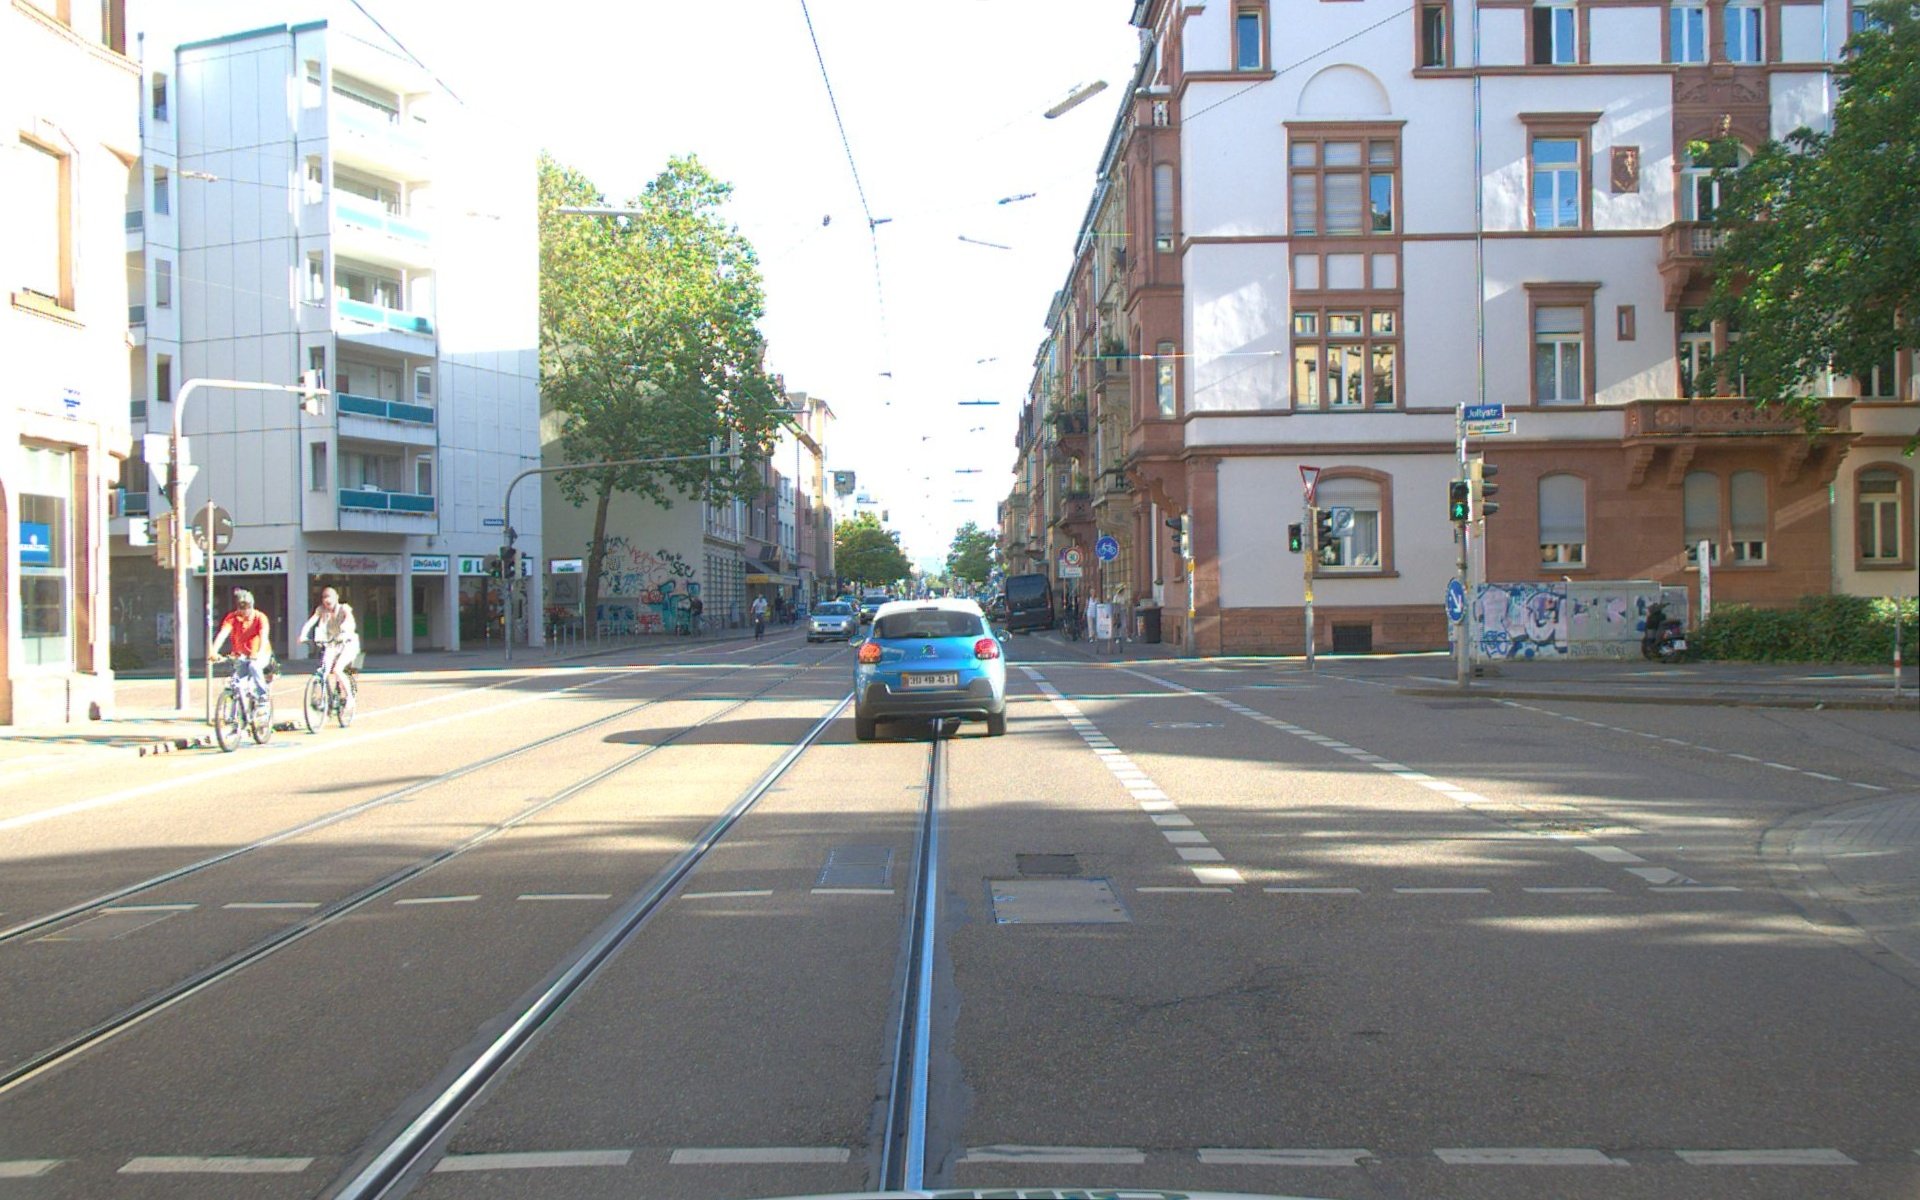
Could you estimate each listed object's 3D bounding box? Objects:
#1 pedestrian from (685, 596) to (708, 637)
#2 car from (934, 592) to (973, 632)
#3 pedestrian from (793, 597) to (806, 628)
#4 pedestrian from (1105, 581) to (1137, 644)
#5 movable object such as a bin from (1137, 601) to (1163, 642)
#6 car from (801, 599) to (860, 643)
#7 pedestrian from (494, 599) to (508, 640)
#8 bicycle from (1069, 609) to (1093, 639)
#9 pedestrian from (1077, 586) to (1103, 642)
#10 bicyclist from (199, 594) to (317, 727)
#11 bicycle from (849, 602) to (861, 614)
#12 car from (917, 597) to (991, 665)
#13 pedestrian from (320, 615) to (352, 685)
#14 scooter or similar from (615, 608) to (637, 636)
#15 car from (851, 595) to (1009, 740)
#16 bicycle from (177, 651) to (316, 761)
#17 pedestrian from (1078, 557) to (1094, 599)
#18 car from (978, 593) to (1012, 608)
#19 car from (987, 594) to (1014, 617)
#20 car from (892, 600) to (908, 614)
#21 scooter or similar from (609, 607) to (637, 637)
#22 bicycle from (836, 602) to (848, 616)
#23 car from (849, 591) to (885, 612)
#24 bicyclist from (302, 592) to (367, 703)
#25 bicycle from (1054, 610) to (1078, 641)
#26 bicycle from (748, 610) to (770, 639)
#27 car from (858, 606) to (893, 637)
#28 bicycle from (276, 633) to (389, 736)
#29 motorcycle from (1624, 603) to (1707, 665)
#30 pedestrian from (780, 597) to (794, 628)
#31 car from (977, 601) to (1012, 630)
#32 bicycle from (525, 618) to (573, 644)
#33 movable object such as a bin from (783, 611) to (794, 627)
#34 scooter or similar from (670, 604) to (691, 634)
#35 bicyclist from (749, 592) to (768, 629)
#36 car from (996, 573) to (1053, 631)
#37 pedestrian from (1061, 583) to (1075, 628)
[{"bbox_3d":[-11.594,0.715,72.724,0.668,1.796,1.026,-1,0,10],"label":"pedestrian"},{"bbox_3d":[-0.366,0.635,88.428,1.953,2.049,3.999,-1,0,-2],"label":"car"},{"bbox_3d":[-9.414,0.727,97.216,0.697,1.795,0.653,-1,0,-9],"label":"pedestrian"},{"bbox_3d":[4.878,0.368,50.215,0.691,1.812,0.672,-7,0,-2],"label":"pedestrian"},{"bbox_3d":[5.576,0.633,48.551,0.652,1.174,0.594,-1,0,-2],"label":"movable object such as a bin"},{"bbox_3d":[-4.793,0.753,61.821,1.945,1.528,4.307,-1,0,-2],"label":"car"},{"bbox_3d":[-20.060,0.841,72.309,0.446,1.748,0.547,-1,0,-2],"label":"pedestrian"},{"bbox_3d":[3.948,0.781,54.148,0.423,0.964,1.760,-1,0,-8],"label":"bicycle"},{"bbox_3d":[4.064,0.434,51.699,0.615,1.731,0.681,-1,0,-10],"label":"pedestrian"},{"bbox_3d":[-7.811,0.647,18.466,0.720,1.405,1.468,-1,0,-2],"label":"bicyclist"},{"bbox_3d":[-10.555,0.832,166.152,1.099,1.166,3.639,-1,0,-6],"label":"bicycle"},{"bbox_3d":[-0.188,0.697,39.688,1.633,1.504,3.999,-1,0,-2],"label":"car"},{"bbox_3d":[-14.314,1.141,37.962,0.531,1.579,0.516,-1,0,-2],"label":"pedestrian"},{"bbox_3d":[-14.891,0.986,73.799,0.921,1.243,0.765,-1,0,-13],"label":"scooter or similar"},{"bbox_3d":[-0.296,0.706,19.421,1.639,1.503,4.000,-1,0,0],"label":"car"},{"bbox_3d":[-7.939,1.150,18.499,0.716,1.084,2.061,-1,0,-2],"label":"bicycle"},{"bbox_3d":[5.622,-0.974,73.669,0.542,1.813,0.606,-3,0,-2],"label":"pedestrian"},{"bbox_3d":[4.051,0.030,191.398,3.759,1.646,1.790,-1,0,-3],"label":"car"},{"bbox_3d":[3.100,0.441,125.920,1.964,1.702,4.391,-1,0,1],"label":"car"},{"bbox_3d":[-7.566,0.883,209.764,1.953,1.680,3.999,-1,0,-2],"label":"car"},{"bbox_3d":[-14.840,0.972,72.798,1.207,1.280,0.765,-1,0,-13],"label":"scooter or similar"},{"bbox_3d":[-11.820,0.856,165.920,1.099,1.342,3.639,-1,0,-6],"label":"bicycle"},{"bbox_3d":[-12.065,0.180,214.558,4.256,2.626,2.191,-1,0,-27],"label":"car"},{"bbox_3d":[-8.052,0.598,21.324,0.578,1.400,0.679,-1,0,-2],"label":"bicyclist"},{"bbox_3d":[3.468,0.824,54.086,0.423,0.964,1.760,-1,0,-8],"label":"bicycle"},{"bbox_3d":[-8.260,1.011,68.164,0.678,1.140,2.083,-1,0,-2],"label":"bicycle"},{"bbox_3d":[-5.086,1.272,100.117,1.953,1.774,4.561,-1,0,-2],"label":"car"},{"bbox_3d":[-8.053,1.061,21.327,0.716,1.204,2.061,-1,0,-2],"label":"bicycle"},{"bbox_3d":[14.258,0.662,33.500,0.598,1.144,2.390,-1,1,-1],"label":"motorcycle"},{"bbox_3d":[-10.108,0.738,96.686,0.696,1.795,0.570,-1,0,-2],"label":"pedestrian"},{"bbox_3d":[2.117,0.935,101.605,1.965,1.701,4.805,-1,0,-1],"label":"car"},{"bbox_3d":[-16.480,1.246,66.307,1.878,1.052,0.665,-1,0,26],"label":"bicycle"},{"bbox_3d":[-10.100,1.116,97.416,0.598,0.930,0.695,-1,0,-1],"label":"movable object such as a bin"},{"bbox_3d":[-12.518,0.862,74.193,0.772,1.294,1.074,1,1,-2],"label":"scooter or similar"},{"bbox_3d":[-8.277,0.442,68.024,0.668,1.509,0.778,-1,0,-2],"label":"bicyclist"},{"bbox_3d":[2.846,0.089,74.484,2.225,2.479,5.719,-1,0,-1],"label":"car"},{"bbox_3d":[5.008,0.246,76.806,0.573,2.049,0.823,-1,0,-2],"label":"pedestrian"}]
